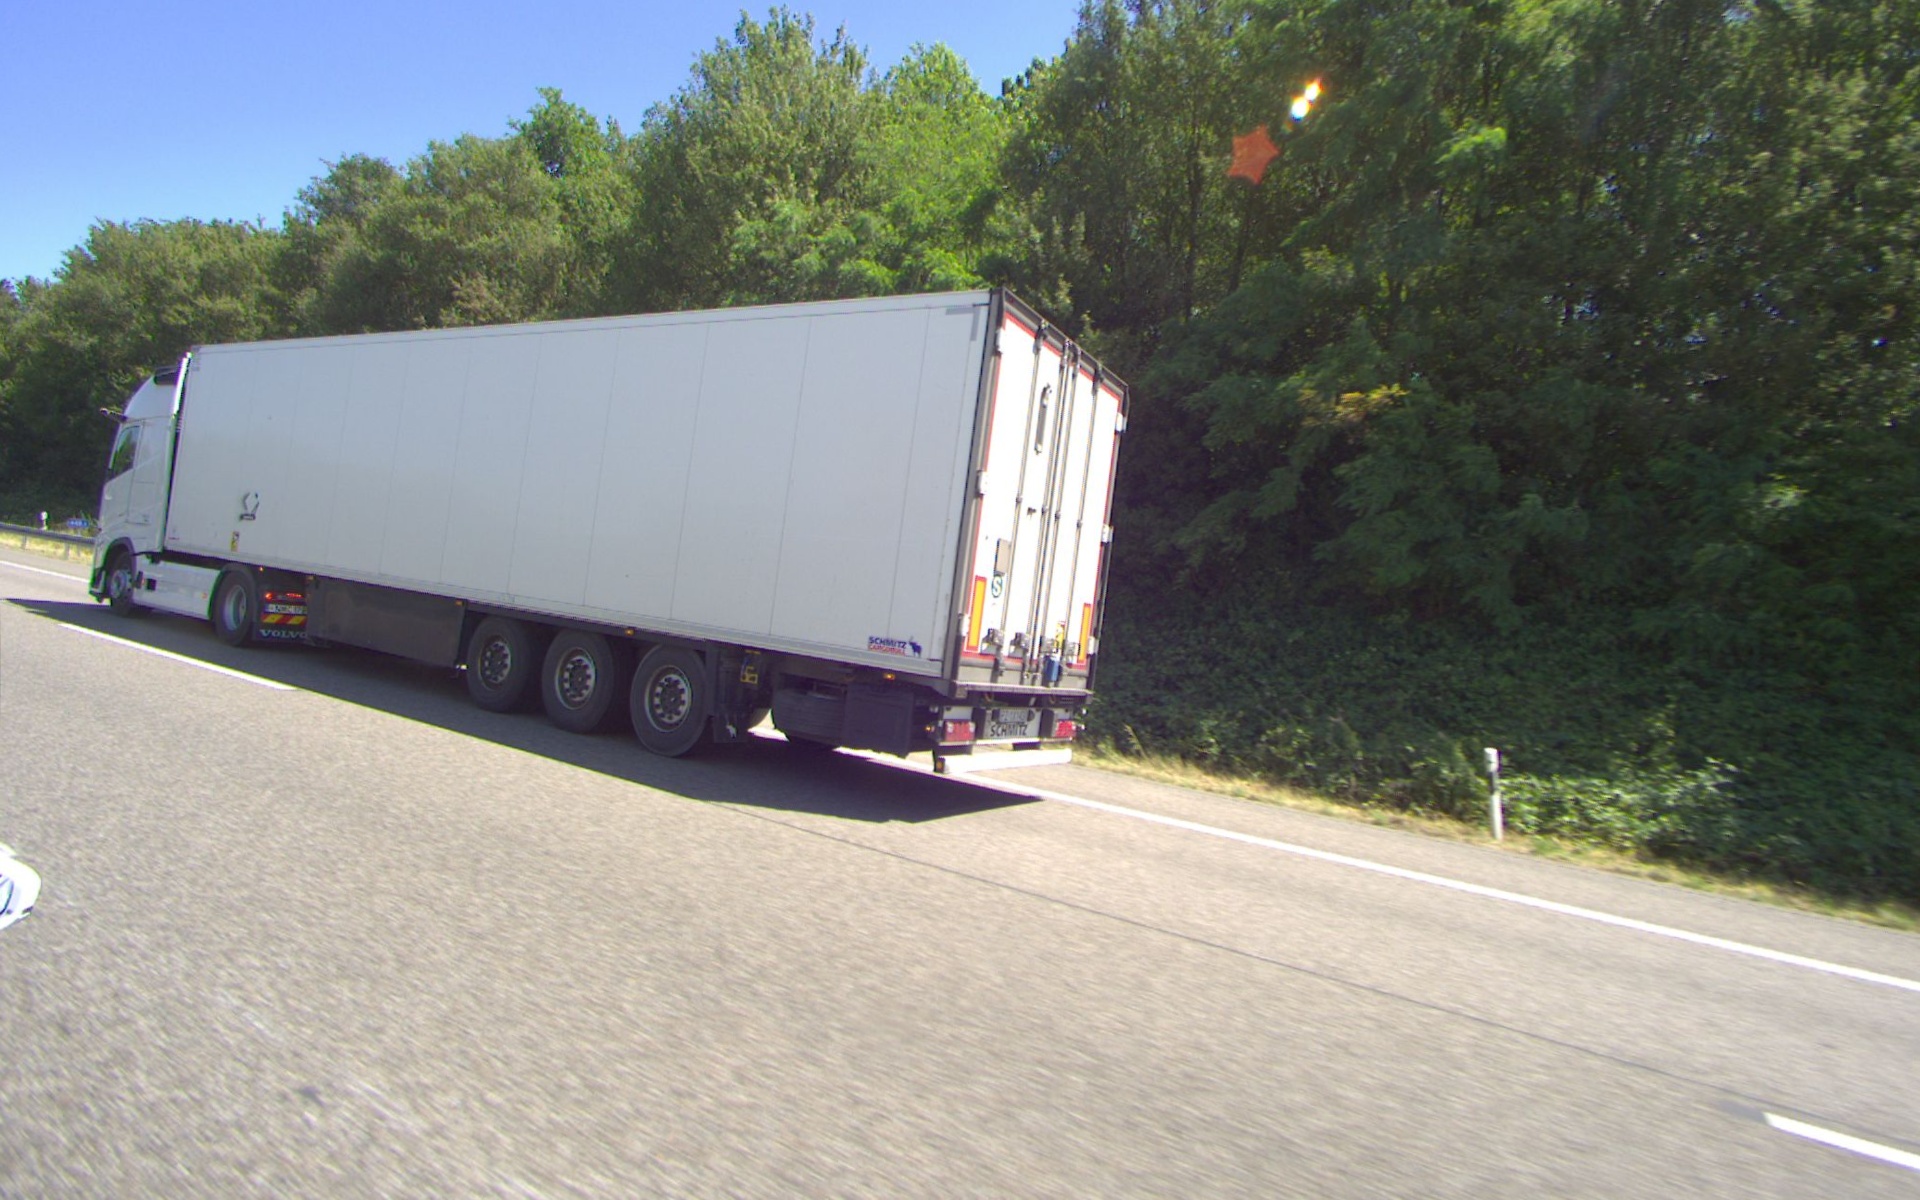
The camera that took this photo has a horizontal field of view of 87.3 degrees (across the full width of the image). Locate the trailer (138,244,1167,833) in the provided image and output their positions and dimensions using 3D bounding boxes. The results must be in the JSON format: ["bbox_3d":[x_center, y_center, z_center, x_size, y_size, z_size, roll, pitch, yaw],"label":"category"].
[{"bbox_3d":[-4.782,-0.977,12.042,13.603,4.274,3.046,7,-1,31],"label":"trailer"}]

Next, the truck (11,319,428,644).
[{"bbox_3d":[-12.177,-1.842,16.482,5.947,4.264,3.054,7,-1,31],"label":"truck"}]
